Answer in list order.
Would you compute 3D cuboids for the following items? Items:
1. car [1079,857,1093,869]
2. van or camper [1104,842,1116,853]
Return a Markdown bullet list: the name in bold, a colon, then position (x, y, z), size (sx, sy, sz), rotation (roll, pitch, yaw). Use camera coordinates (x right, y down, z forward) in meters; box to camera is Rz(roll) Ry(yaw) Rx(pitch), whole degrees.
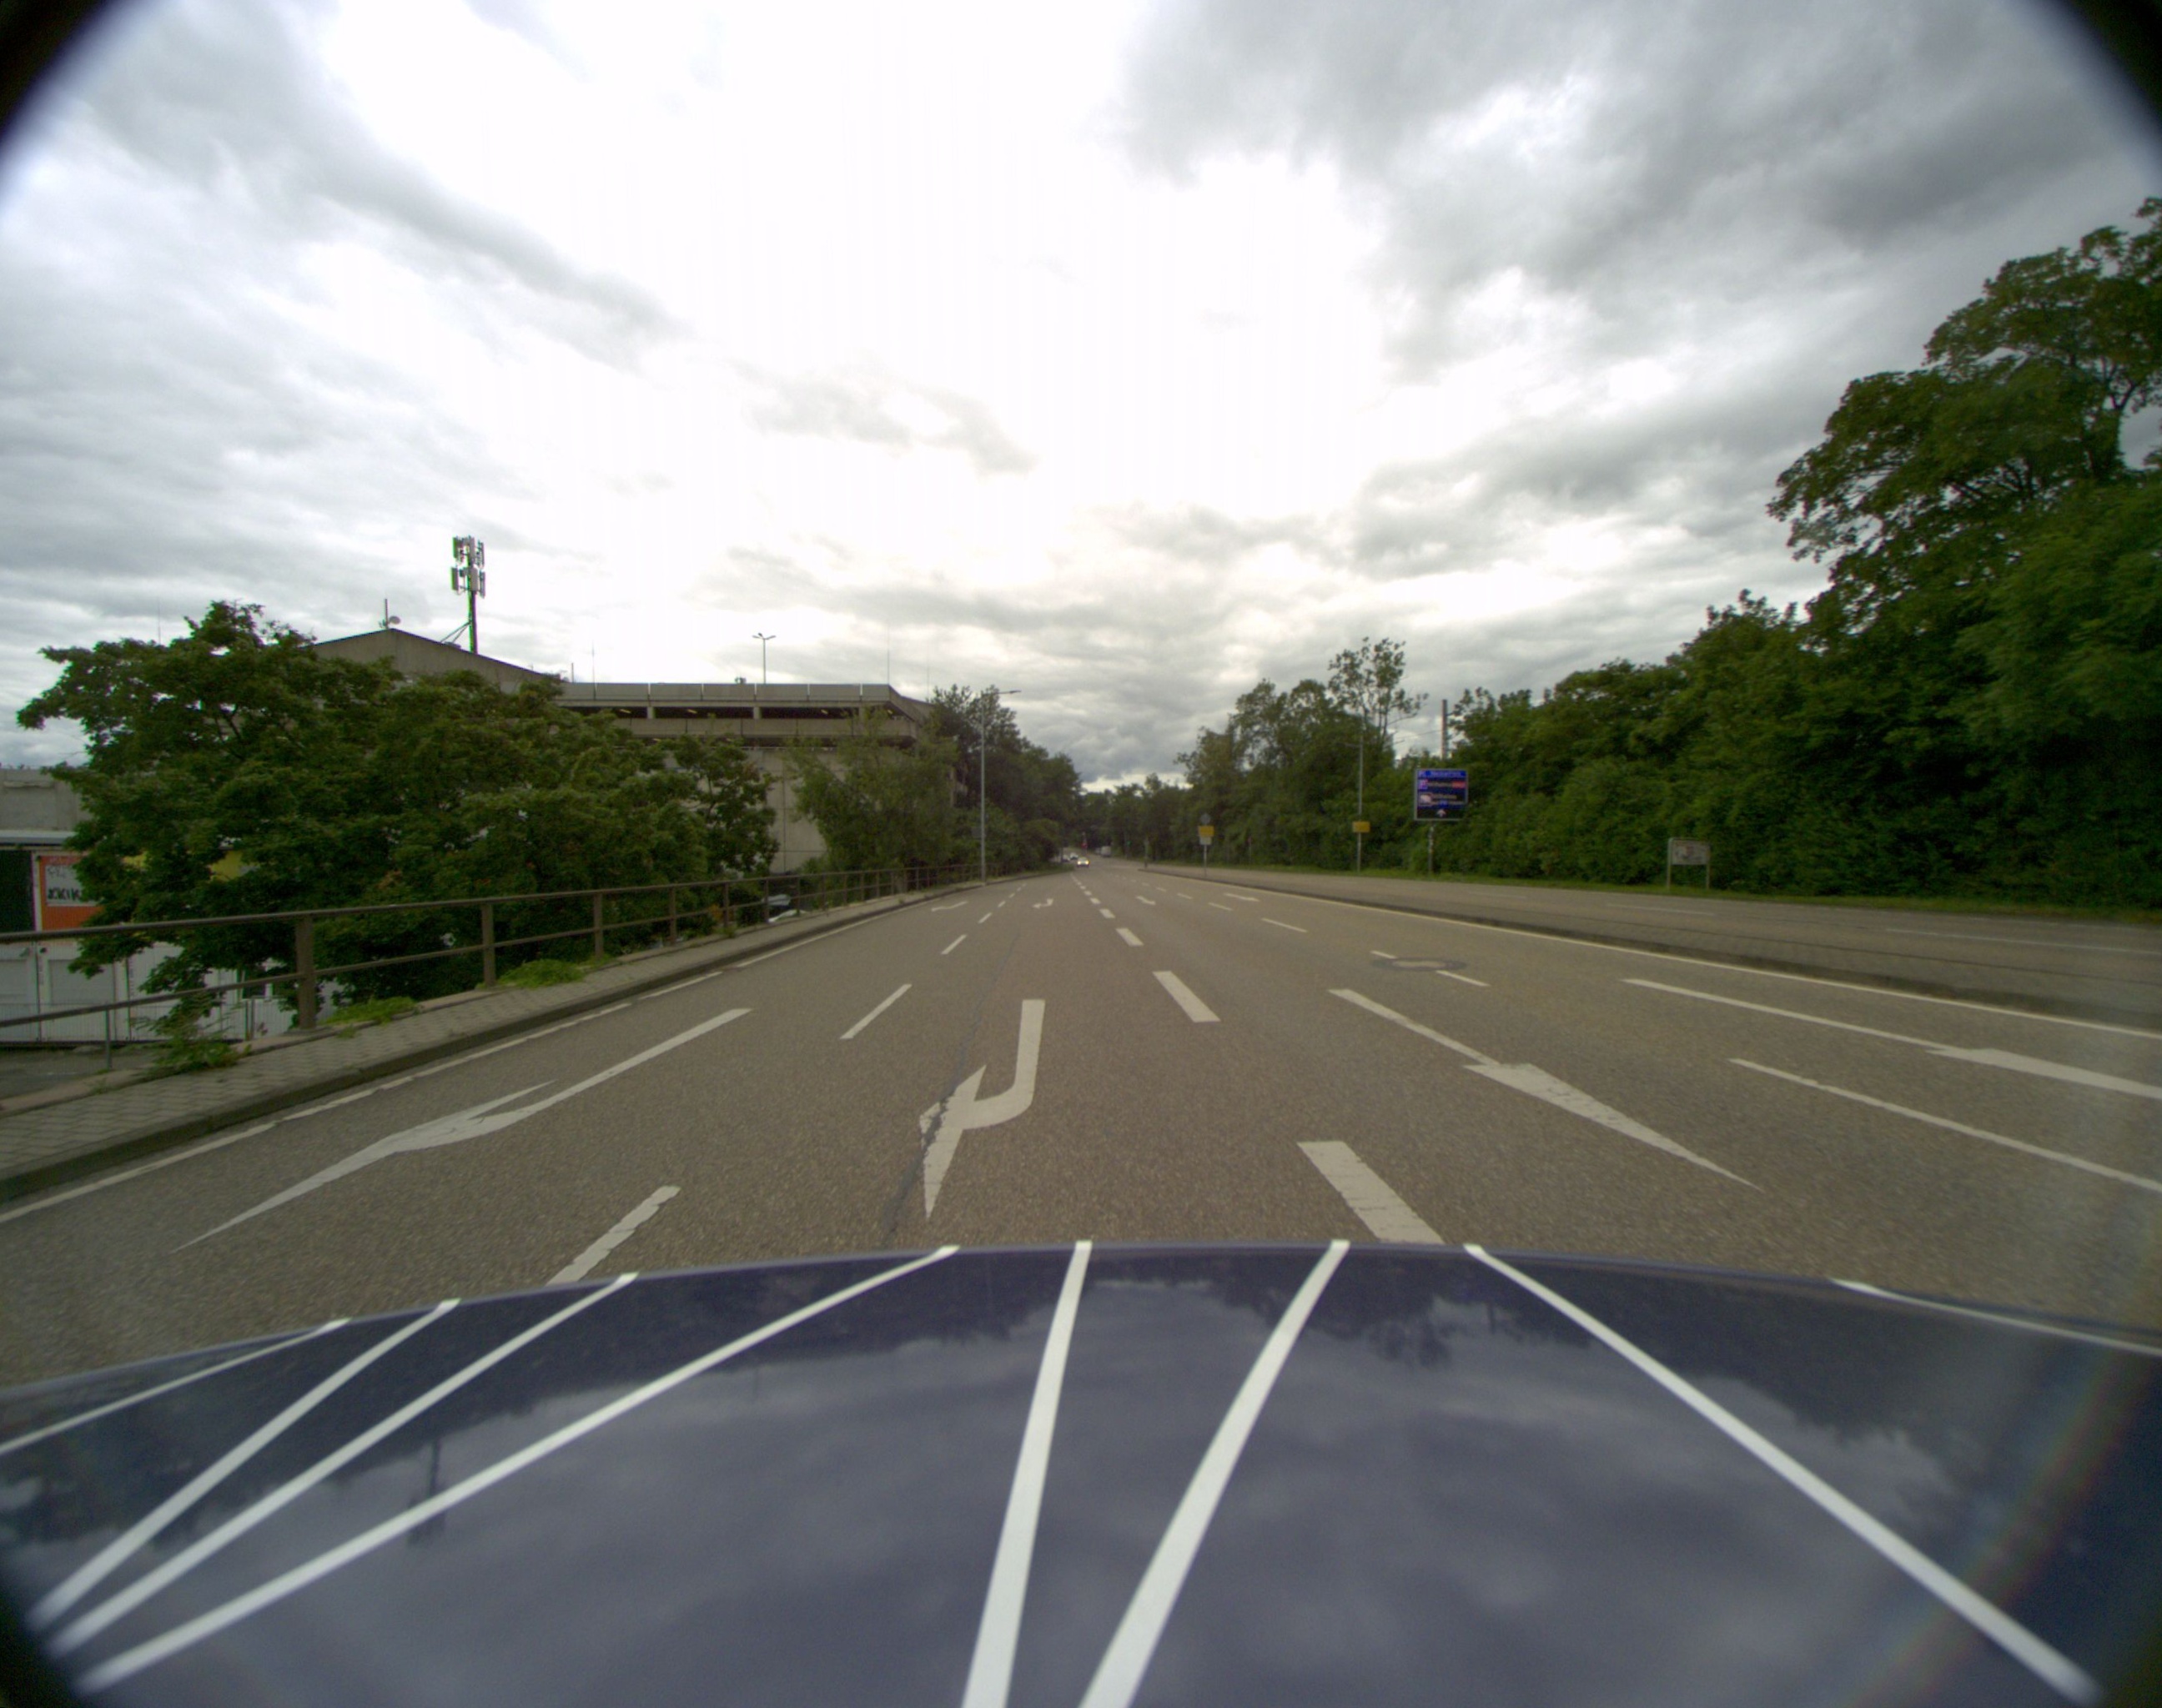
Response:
- **car**: position (0.711, 1.322, 112.541), size (1.855, 1.471, 4.506), rotation (0, 3, -4)
- **van or camper**: position (7.149, -1.557, 189.763), size (2.289, 2.540, 6.858), rotation (-4, 0, -1)
